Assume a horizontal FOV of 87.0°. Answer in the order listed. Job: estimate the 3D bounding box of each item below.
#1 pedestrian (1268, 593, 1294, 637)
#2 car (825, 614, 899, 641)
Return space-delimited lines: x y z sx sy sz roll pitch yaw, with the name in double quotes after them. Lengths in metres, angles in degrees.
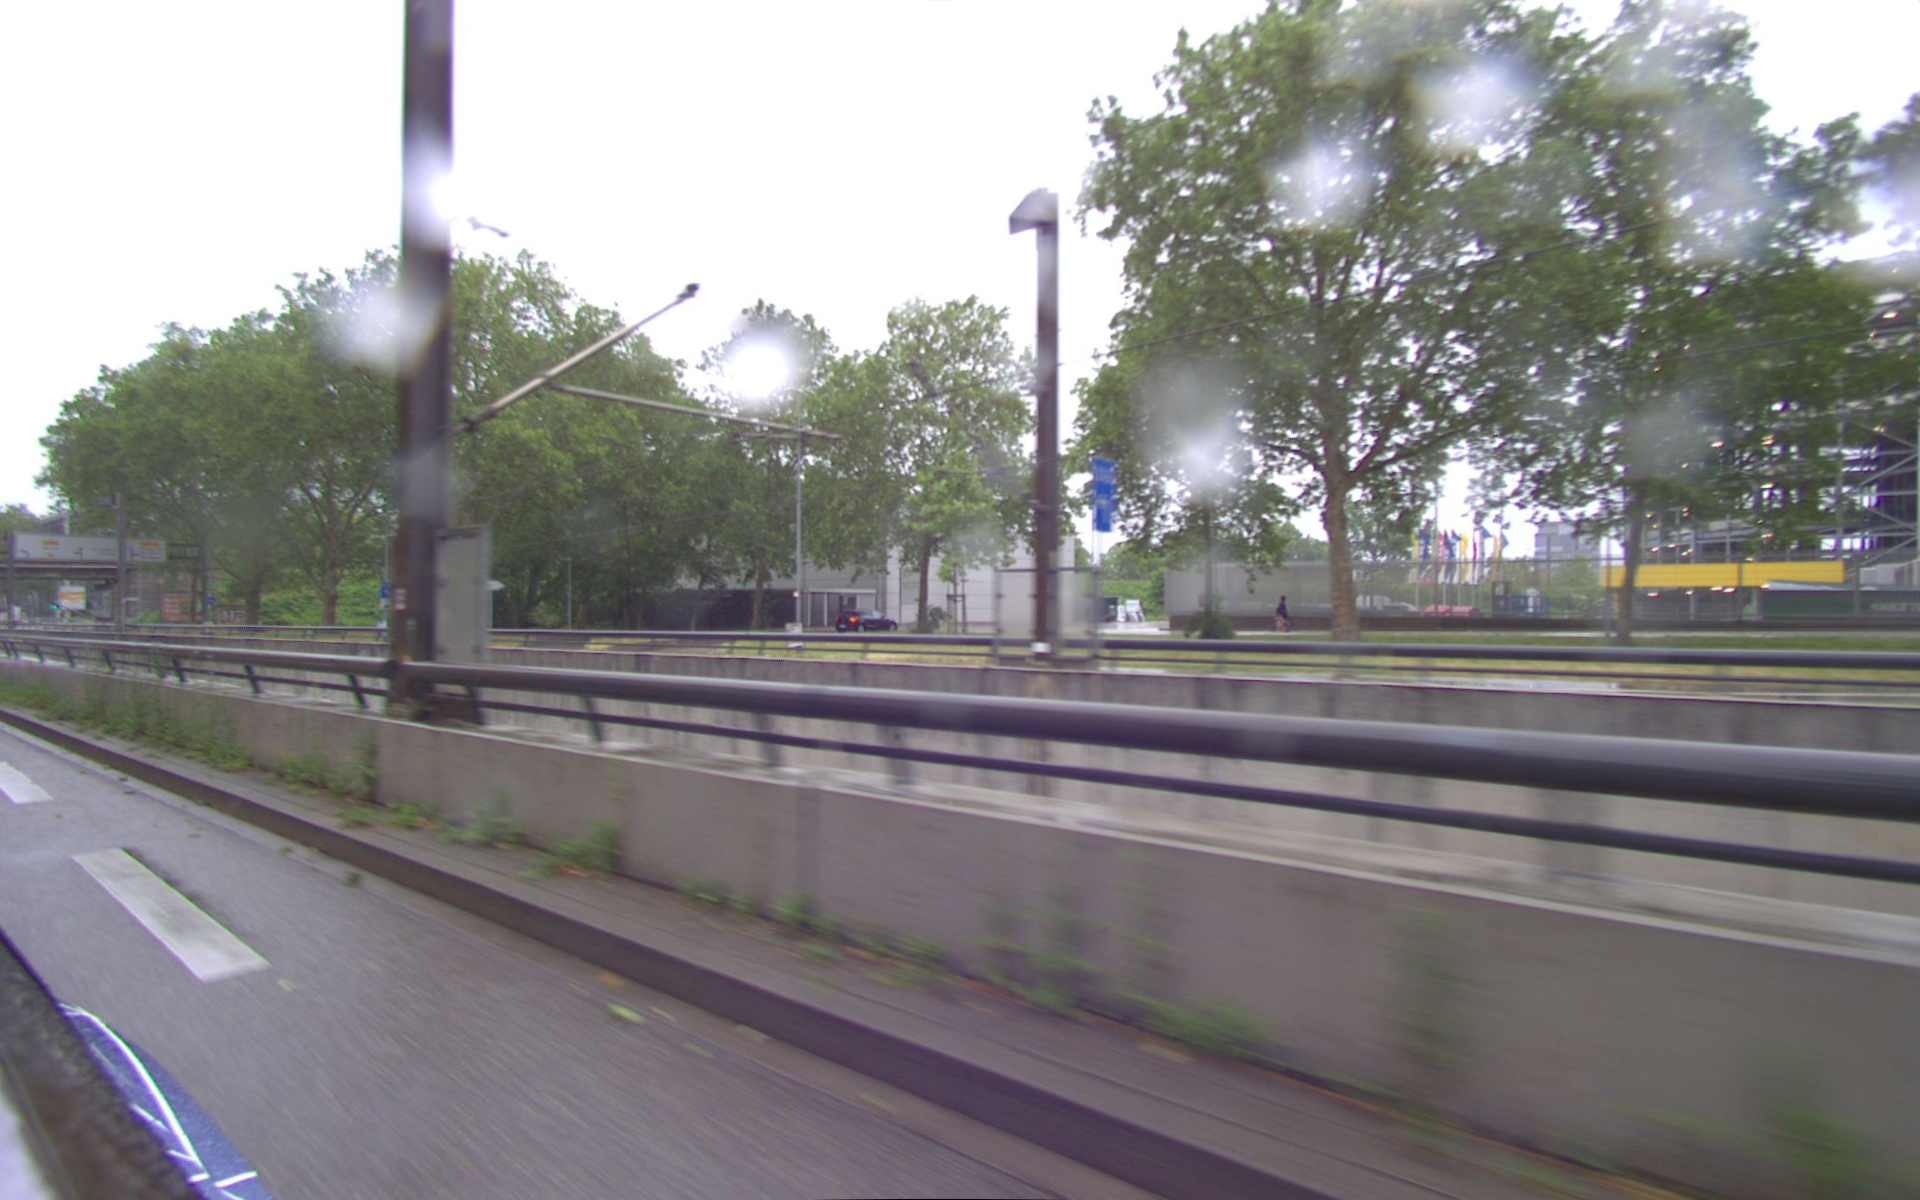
15.191 0.691 47.904 0.789 2.029 0.991 -1 1 41 "pedestrian"
-5.589 1.554 57.869 3.731 1.414 2.005 0 -1 -36 "car"
